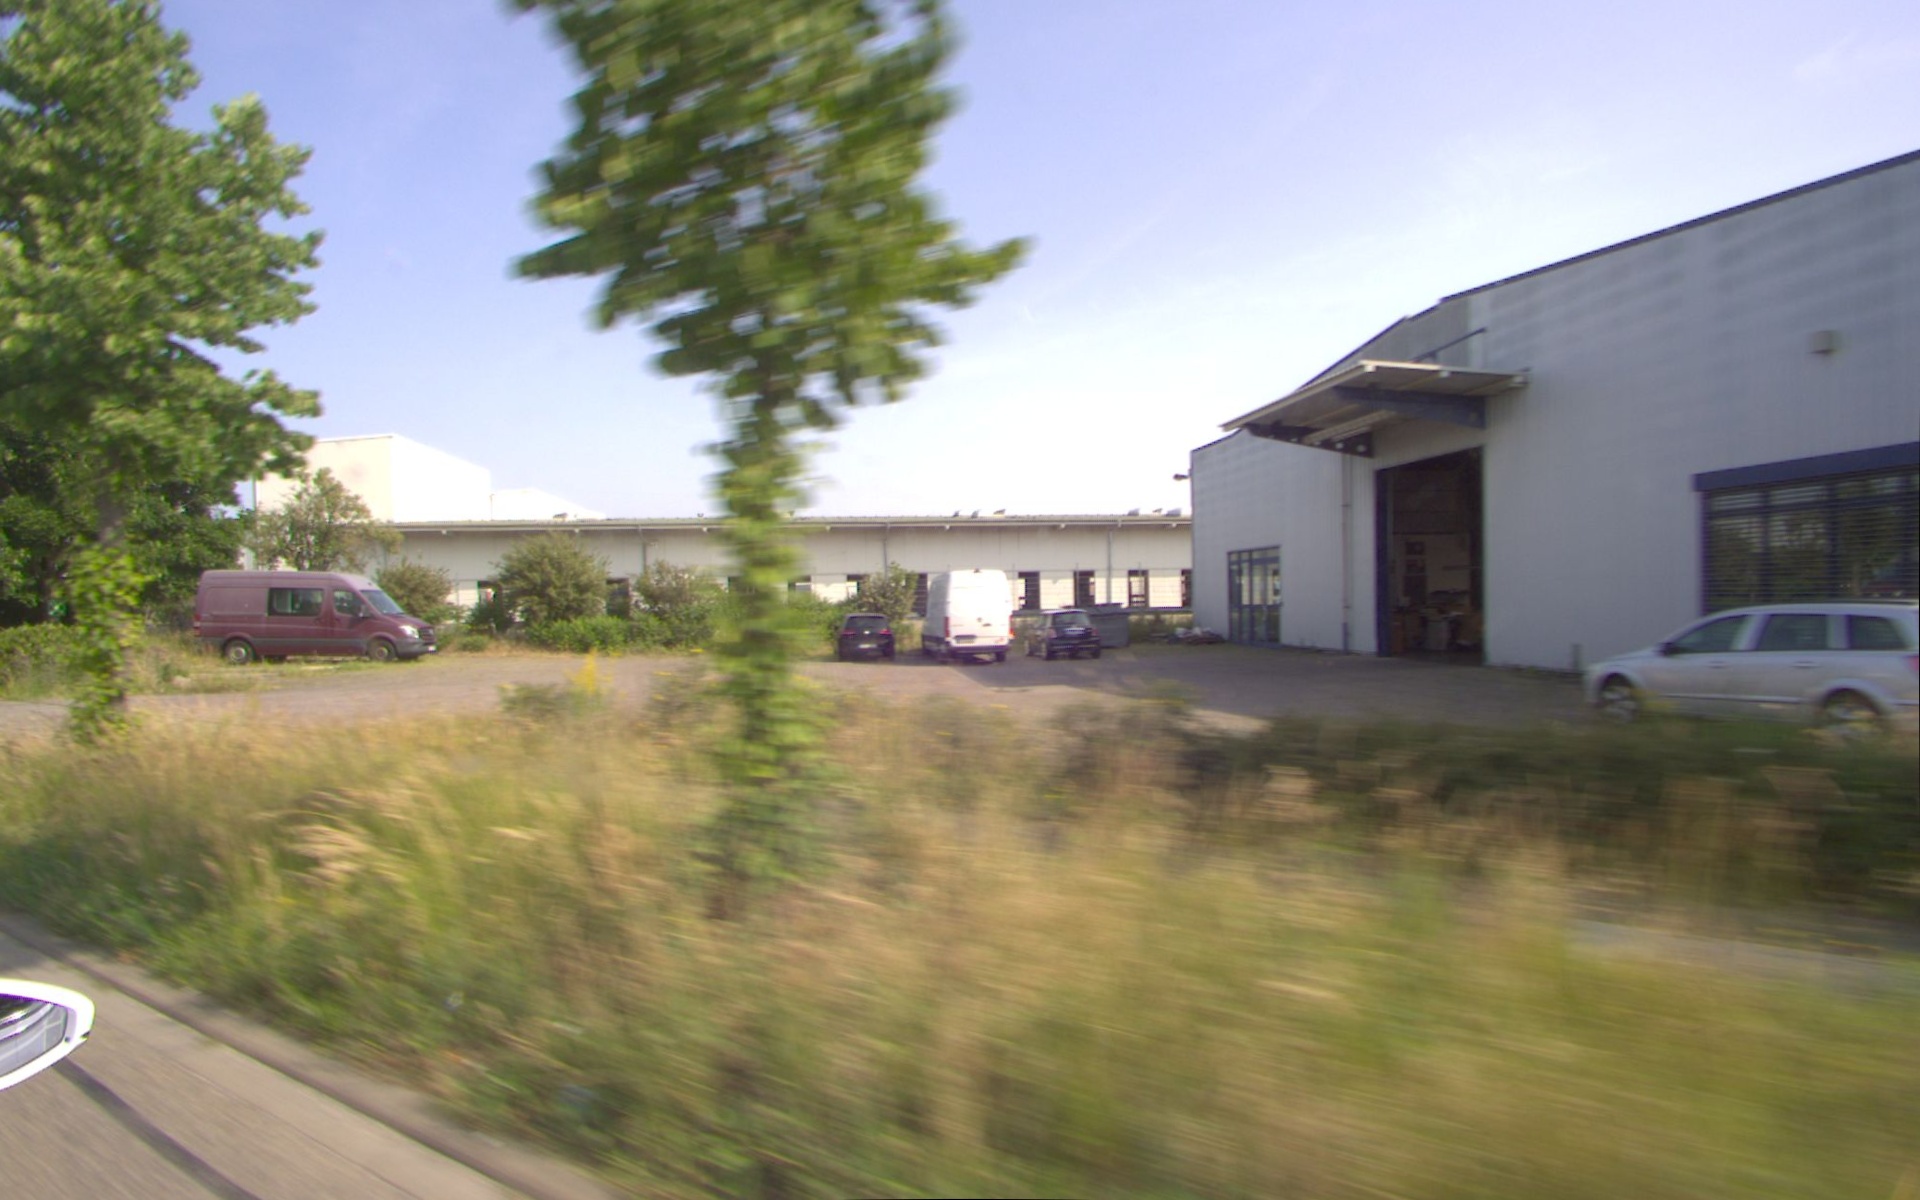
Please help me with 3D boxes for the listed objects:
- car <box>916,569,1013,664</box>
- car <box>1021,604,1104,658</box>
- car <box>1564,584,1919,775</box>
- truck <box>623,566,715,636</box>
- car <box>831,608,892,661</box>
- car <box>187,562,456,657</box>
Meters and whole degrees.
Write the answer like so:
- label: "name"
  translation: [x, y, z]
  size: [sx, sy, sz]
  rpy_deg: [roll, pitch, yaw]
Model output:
- label: "car"
  translation: [-0.004, 0.512, 30.688]
  size: [1.969, 2.558, 6.558]
  rpy_deg: [-1, -1, -8]
- label: "car"
  translation: [2.977, 0.935, 29.664]
  size: [1.671, 1.490, 3.441]
  rpy_deg: [0, -2, -8]
- label: "car"
  translation: [8.889, 0.687, 10.634]
  size: [1.726, 1.583, 4.355]
  rpy_deg: [-4, 1, -11]
- label: "truck"
  translation: [-13.122, 0.160, 45.910]
  size: [2.737, 2.877, 8.759]
  rpy_deg: [-1, -1, -8]
- label: "car"
  translation: [-3.111, 1.025, 31.094]
  size: [1.726, 1.491, 3.728]
  rpy_deg: [0, 0, -8]
- label: "car"
  translation: [-18.090, 0.346, 28.730]
  size: [5.933, 2.557, 2.575]
  rpy_deg: [0, -2, -9]
